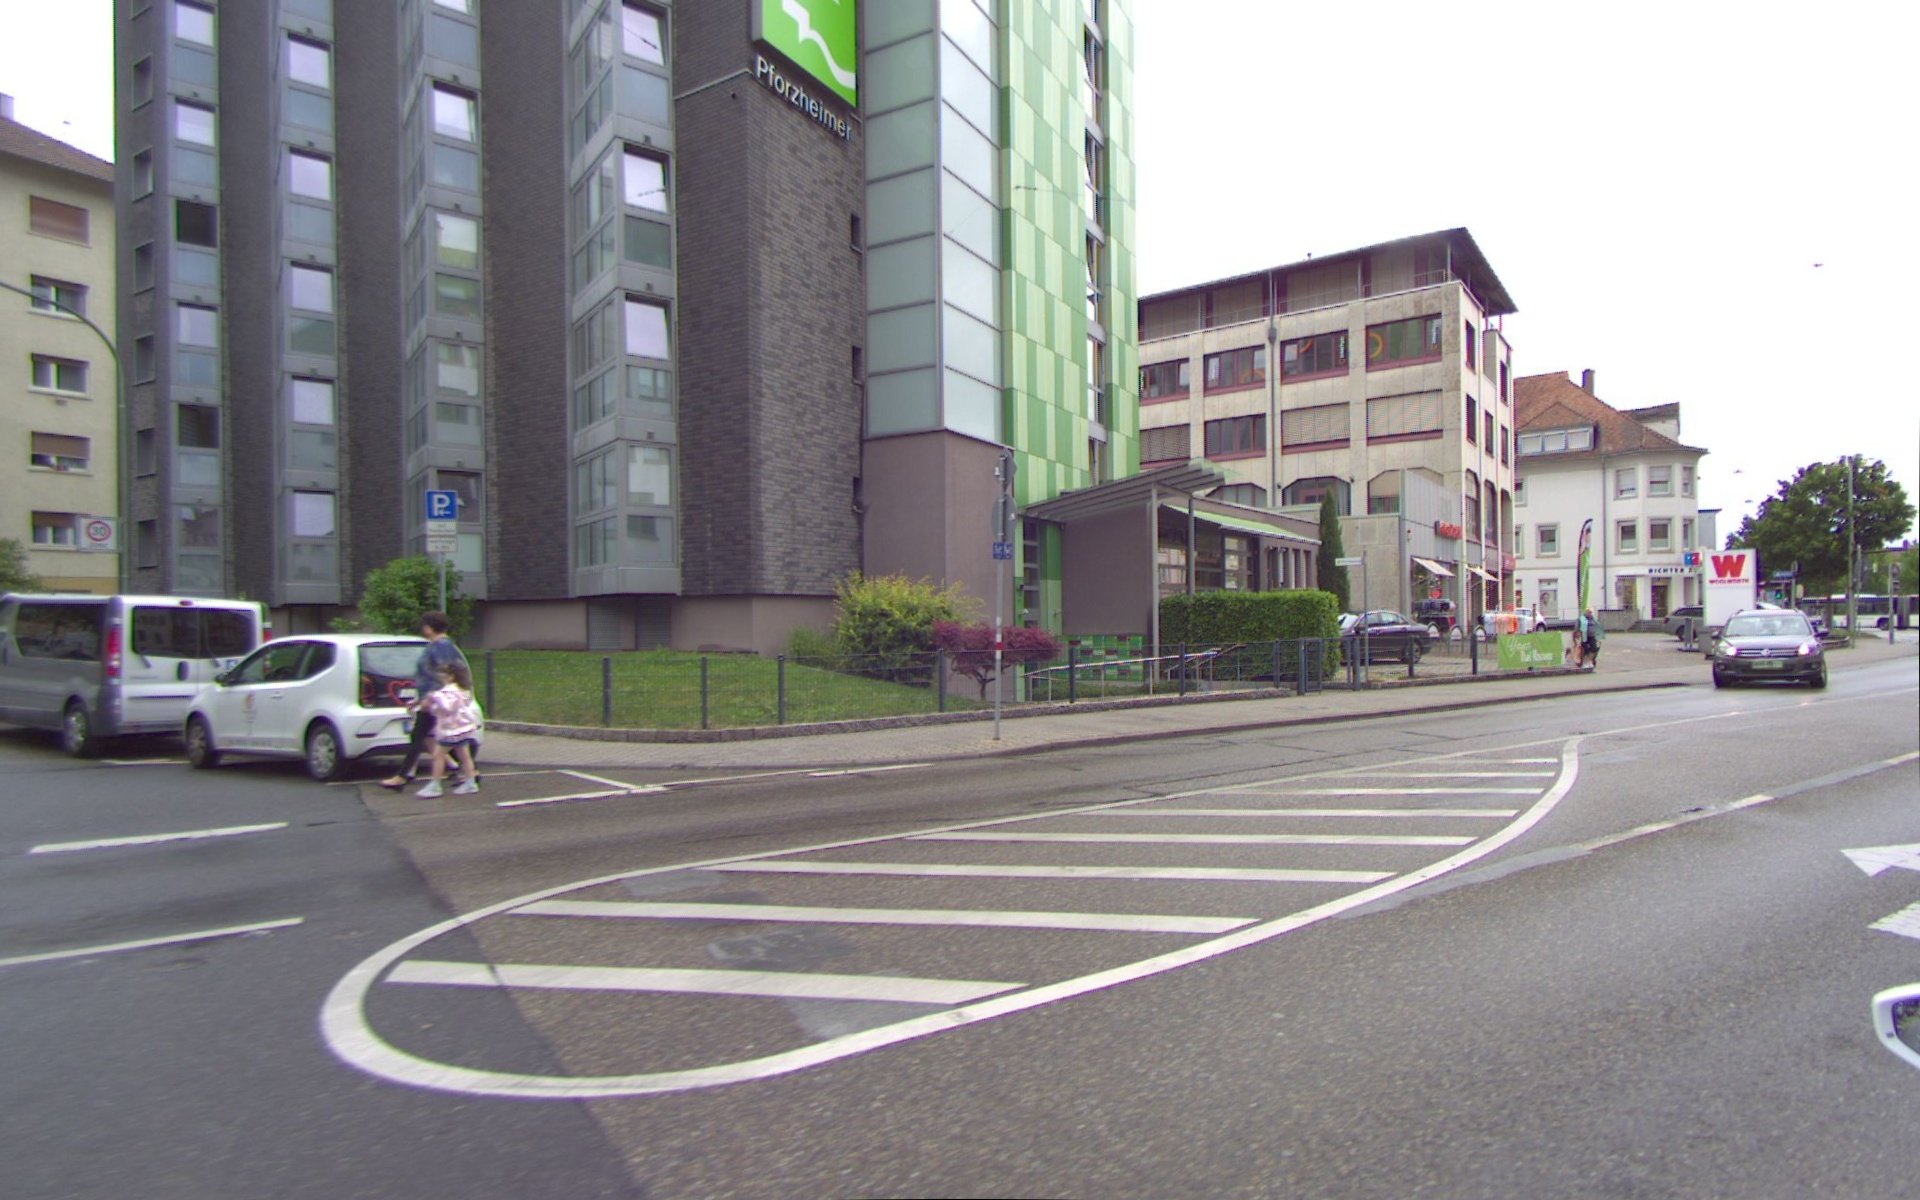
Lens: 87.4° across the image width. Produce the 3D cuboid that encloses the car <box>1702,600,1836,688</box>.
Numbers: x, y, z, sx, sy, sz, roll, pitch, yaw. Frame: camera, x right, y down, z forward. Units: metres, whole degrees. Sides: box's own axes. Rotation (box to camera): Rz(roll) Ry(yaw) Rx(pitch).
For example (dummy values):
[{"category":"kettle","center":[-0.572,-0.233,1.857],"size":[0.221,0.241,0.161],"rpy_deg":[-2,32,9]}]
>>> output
[{"category":"car","center":[17.448,0.873,21.602],"size":[1.927,1.681,4.033],"rpy_deg":[-2,-1,43]}]

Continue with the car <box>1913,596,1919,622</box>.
[{"category":"car","center":[63.950,0.592,65.610],"size":[1.820,1.706,3.987],"rpy_deg":[0,0,35]}]

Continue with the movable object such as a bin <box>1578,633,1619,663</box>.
[{"category":"movable object such as a bin","center":[17.548,1.306,27.614],"size":[0.718,0.799,0.755],"rpy_deg":[-1,-1,12]}]

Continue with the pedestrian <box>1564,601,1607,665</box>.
[{"category":"pedestrian","center":[16.981,0.888,27.293],"size":[0.732,1.708,0.755],"rpy_deg":[-2,-1,12]}]

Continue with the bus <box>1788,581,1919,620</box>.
[{"category":"bus","center":[77.243,0.081,86.736],"size":[2.868,3.146,8.849],"rpy_deg":[-1,-1,-13]}]

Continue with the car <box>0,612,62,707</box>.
[{"category":"car","center":[-16.545,0.967,16.264],"size":[3.663,1.462,1.996],"rpy_deg":[-2,-1,31]}]

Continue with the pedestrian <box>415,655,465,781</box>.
[{"category":"pedestrian","center":[-5.260,1.173,10.152],"size":[0.356,1.214,0.405],"rpy_deg":[-1,0,-40]}]

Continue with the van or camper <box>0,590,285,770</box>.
[{"category":"van or camper","center":[-11.506,0.970,13.495],"size":[4.877,2.040,1.997],"rpy_deg":[-1,-2,28]}]

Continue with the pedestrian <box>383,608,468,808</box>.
[{"category":"pedestrian","center":[-5.018,0.977,9.432],"size":[0.576,1.785,0.569],"rpy_deg":[-1,0,-40]}]

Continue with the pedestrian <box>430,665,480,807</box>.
[{"category":"pedestrian","center":[-4.553,1.209,9.053],"size":[0.308,1.214,0.405],"rpy_deg":[-1,0,-40]}]

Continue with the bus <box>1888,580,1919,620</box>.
[{"category":"bus","center":[77.848,-0.070,78.453],"size":[2.859,3.146,9.148],"rpy_deg":[-2,-1,5]}]

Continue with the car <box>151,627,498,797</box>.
[{"category":"car","center":[-7.099,1.112,11.203],"size":[3.523,1.590,1.739],"rpy_deg":[0,0,27]}]

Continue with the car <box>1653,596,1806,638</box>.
[{"category":"car","center":[30.016,0.700,39.301],"size":[1.869,1.546,4.412],"rpy_deg":[0,-1,-38]}]

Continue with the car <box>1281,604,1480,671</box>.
[{"category":"car","center":[10.334,0.872,24.634],"size":[4.591,1.458,1.987],"rpy_deg":[-1,-1,-26]}]

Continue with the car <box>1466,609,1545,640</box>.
[{"category":"car","center":[28.816,1.308,53.034],"size":[3.701,1.520,1.576],"rpy_deg":[2,-2,-19]}]

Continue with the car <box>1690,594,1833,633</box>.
[{"category":"car","center":[34.028,0.541,42.792],"size":[1.927,1.526,4.404],"rpy_deg":[-1,0,-25]}]
